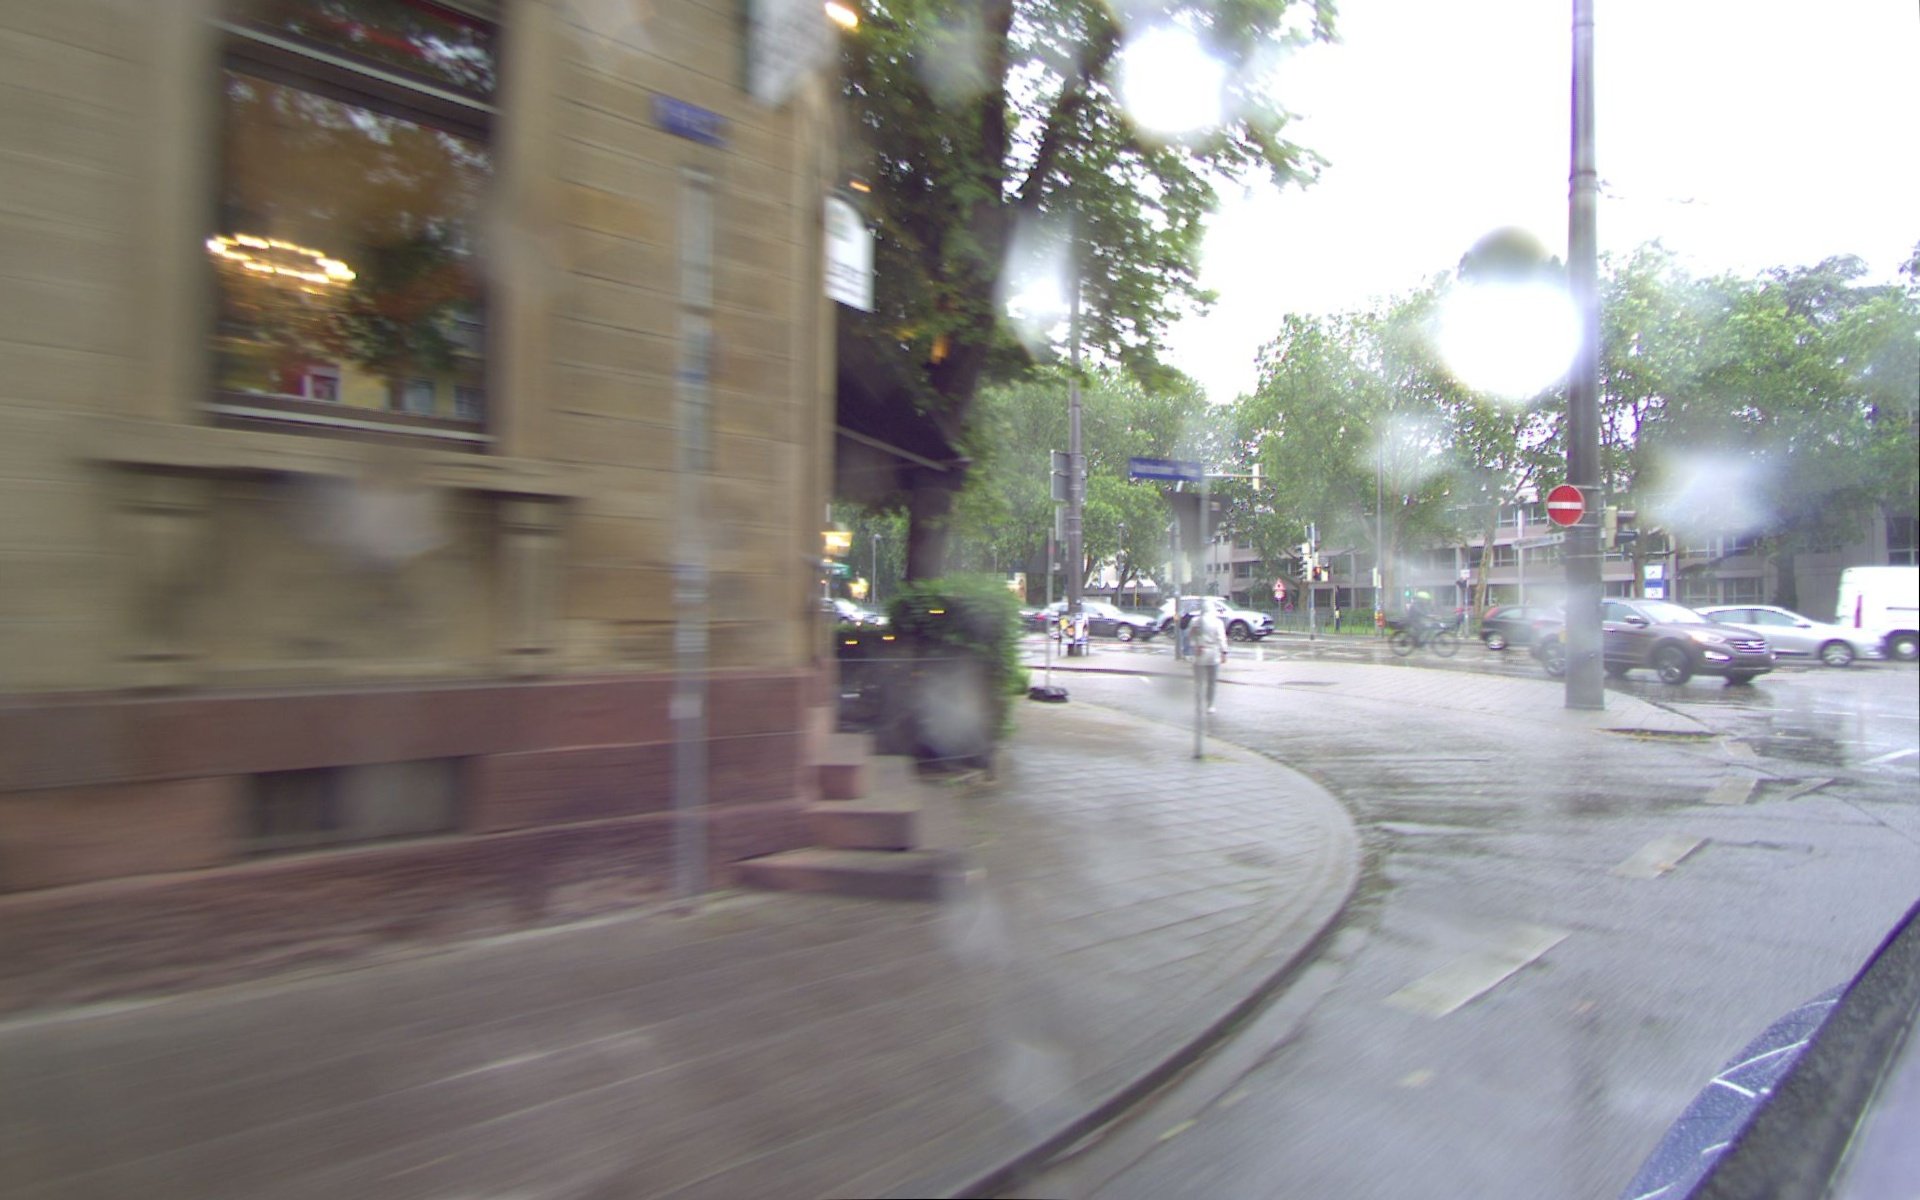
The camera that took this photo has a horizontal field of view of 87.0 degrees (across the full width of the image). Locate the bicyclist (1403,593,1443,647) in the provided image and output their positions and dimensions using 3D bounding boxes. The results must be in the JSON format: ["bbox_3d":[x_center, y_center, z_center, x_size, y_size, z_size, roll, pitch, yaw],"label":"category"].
[{"bbox_3d":[13.235,0.566,28.914,0.802,1.488,0.914,1,2,41],"label":"bicyclist"}]

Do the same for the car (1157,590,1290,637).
[{"bbox_3d":[9.922,0.498,38.274,4.529,1.681,1.764,0,0,37],"label":"car"}]

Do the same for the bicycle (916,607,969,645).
[{"bbox_3d":[-0.582,0.845,32.695,1.781,1.183,0.418,-1,1,36],"label":"bicycle"}]

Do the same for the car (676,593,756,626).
[{"bbox_3d":[-13.777,0.512,57.032,4.574,1.787,1.973,0,0,38],"label":"car"}]

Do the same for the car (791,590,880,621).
[{"bbox_3d":[-5.753,0.243,46.590,4.226,1.375,1.614,-1,0,40],"label":"car"}]

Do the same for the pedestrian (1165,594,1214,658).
[{"bbox_3d":[6.246,0.703,27.570,1.085,1.688,0.997,-1,0,0],"label":"pedestrian"}]

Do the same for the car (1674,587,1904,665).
[{"bbox_3d":[20.286,0.601,25.053,4.240,1.763,1.951,-1,0,36],"label":"car"}]

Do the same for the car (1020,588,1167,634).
[{"bbox_3d":[4.969,0.440,38.078,5.310,1.613,1.921,-1,-1,40],"label":"car"}]

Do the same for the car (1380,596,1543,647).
[{"bbox_3d":[16.290,0.673,33.003,4.529,1.532,1.764,-1,0,37],"label":"car"}]

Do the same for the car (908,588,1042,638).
[{"bbox_3d":[0.515,0.471,37.316,4.663,1.709,1.953,-1,0,36],"label":"car"}]

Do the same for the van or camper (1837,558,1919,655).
[{"bbox_3d":[26.743,0.153,26.054,5.920,2.502,2.159,-1,0,30],"label":"van or camper"}]

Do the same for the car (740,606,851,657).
[{"bbox_3d":[-5.329,0.990,32.597,3.499,1.519,1.629,-1,0,40],"label":"car"}]

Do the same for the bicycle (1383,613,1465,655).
[{"bbox_3d":[13.225,0.944,28.861,1.989,1.101,0.807,0,1,41],"label":"bicycle"}]

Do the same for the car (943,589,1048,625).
[{"bbox_3d":[1.547,0.311,45.011,4.452,1.532,1.764,-1,0,37],"label":"car"}]

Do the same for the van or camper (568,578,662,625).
[{"bbox_3d":[-19.442,0.074,56.931,5.677,2.530,2.118,-1,0,36],"label":"van or camper"}]

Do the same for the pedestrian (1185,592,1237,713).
[{"bbox_3d":[3.928,0.807,15.794,0.560,1.796,1.196,3,-2,22],"label":"pedestrian"}]

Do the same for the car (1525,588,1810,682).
[{"bbox_3d":[14.302,0.630,20.869,1.874,1.667,4.689,-1,0,-14],"label":"car"}]
